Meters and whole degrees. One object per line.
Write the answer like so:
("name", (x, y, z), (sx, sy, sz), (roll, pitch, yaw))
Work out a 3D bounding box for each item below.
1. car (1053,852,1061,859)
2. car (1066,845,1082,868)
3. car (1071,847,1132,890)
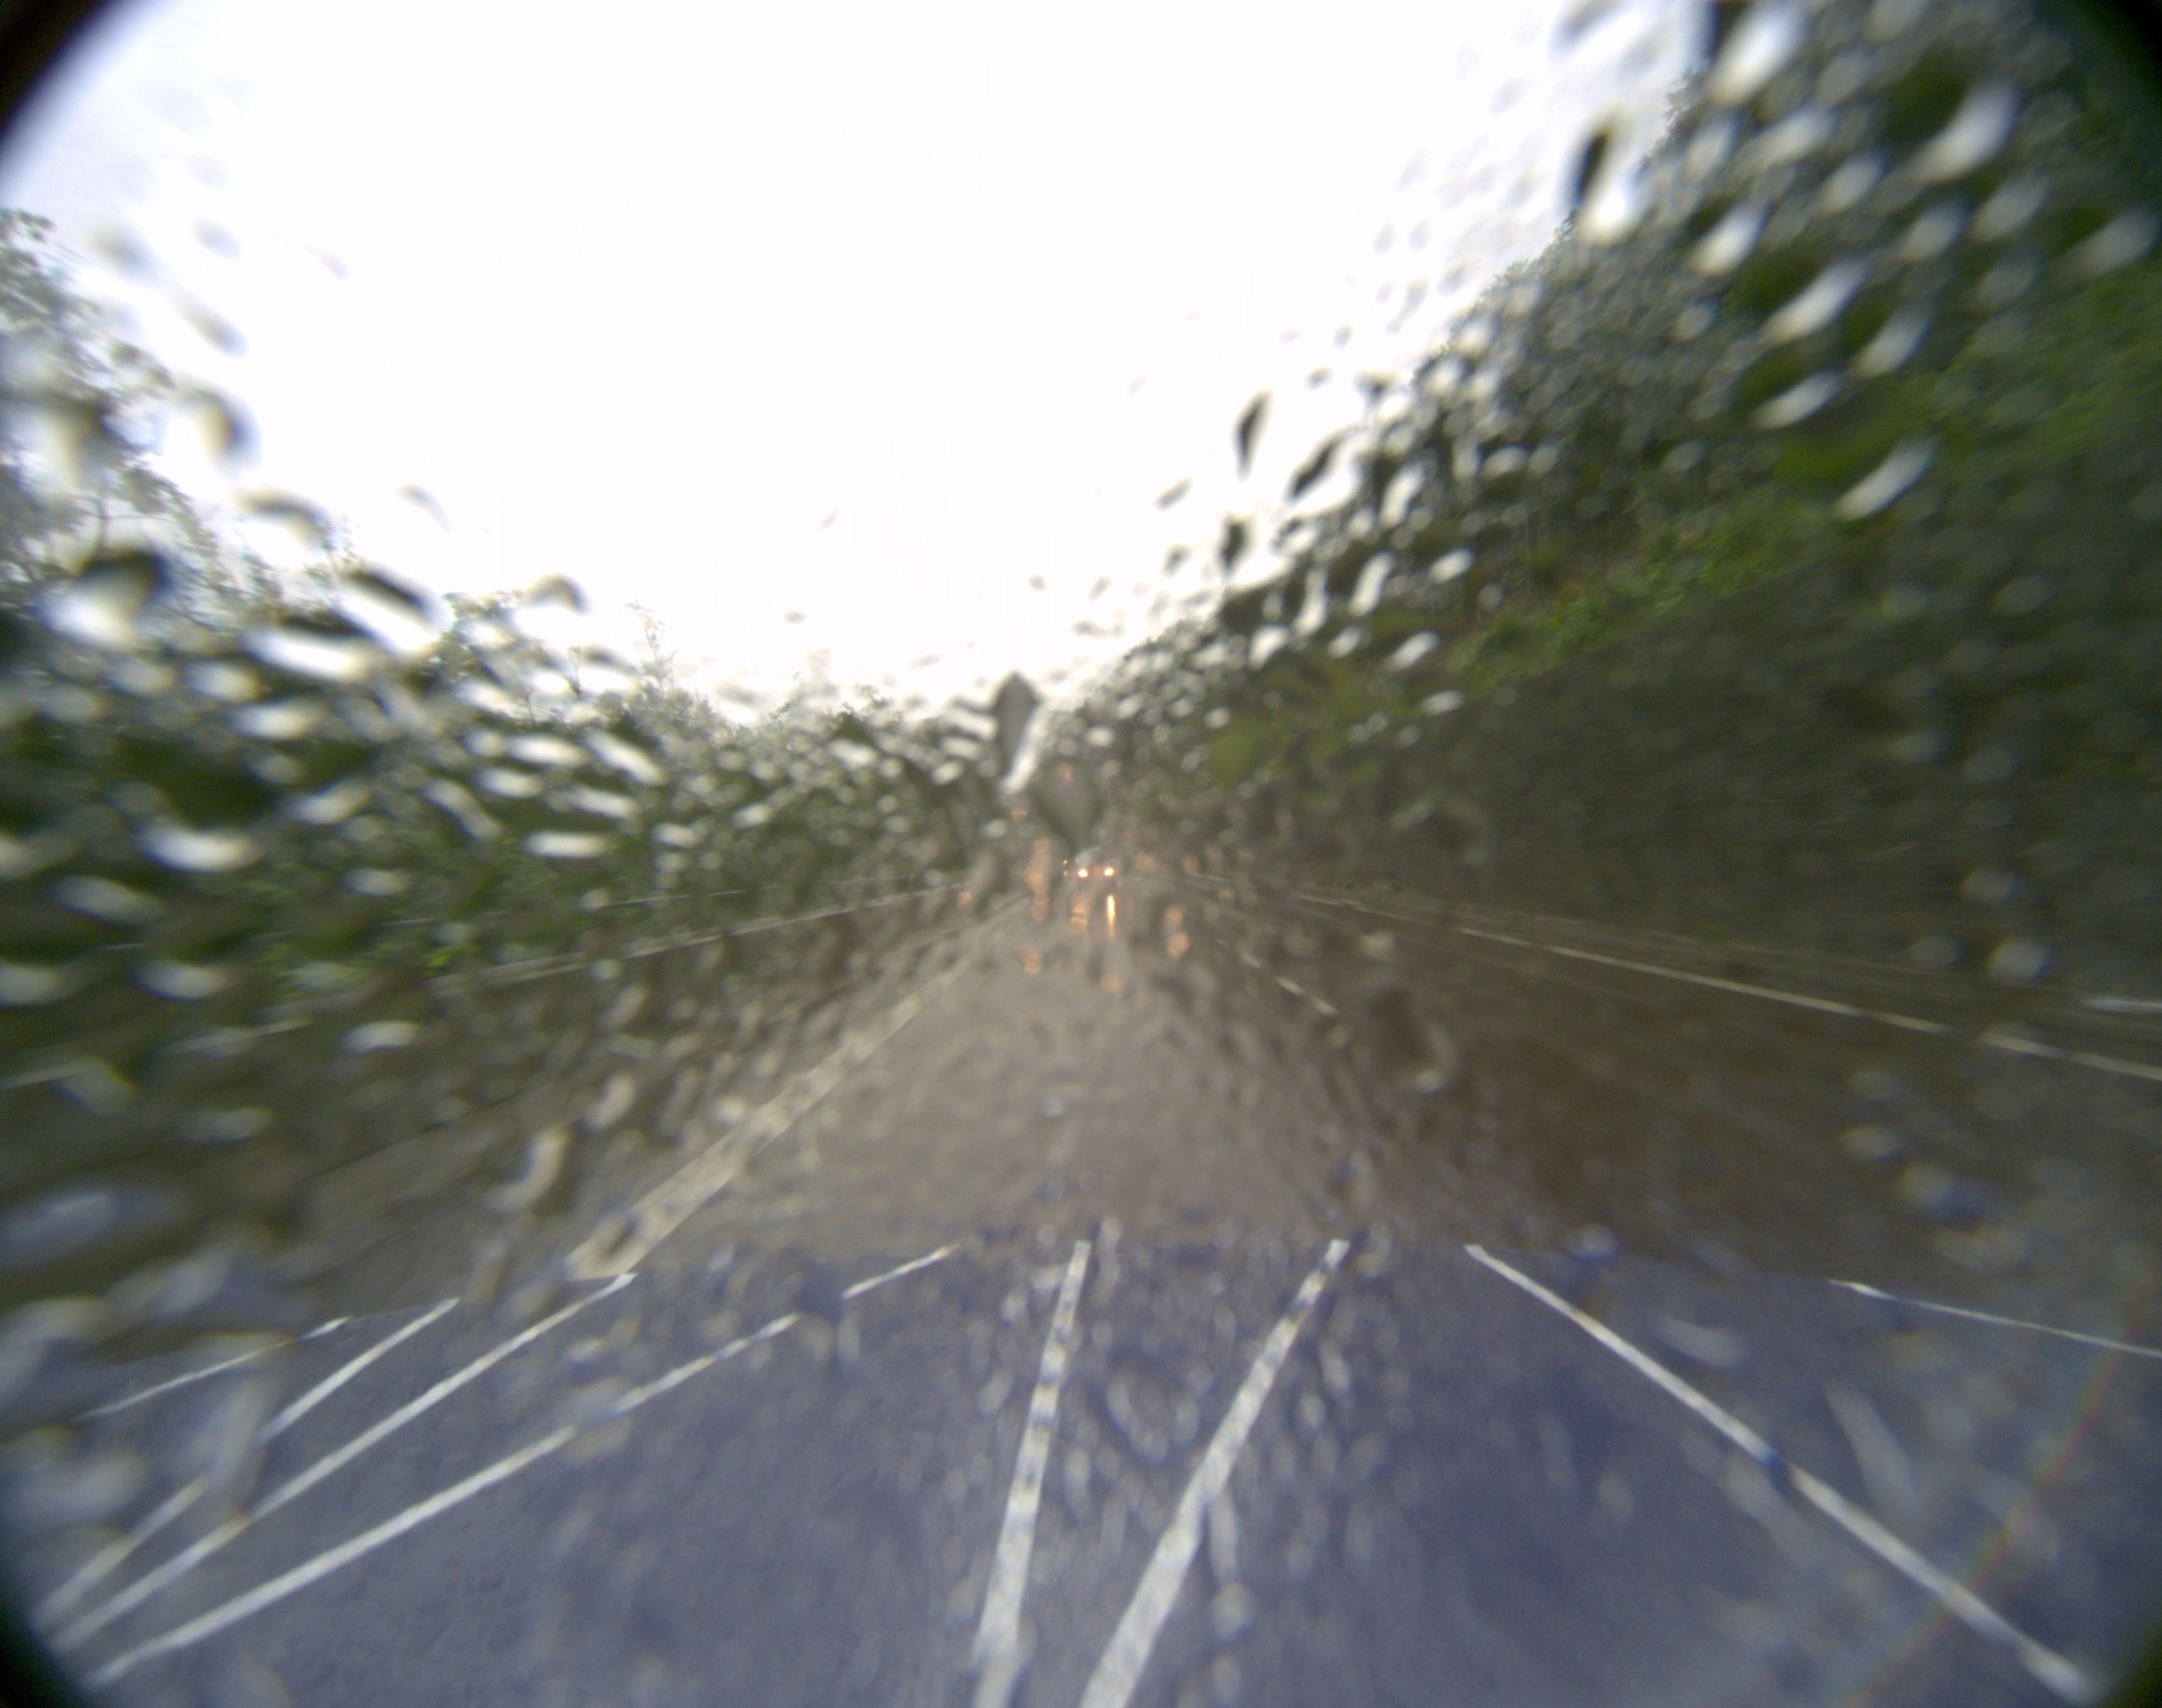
("car", (-5.275, 0.362, 165.309), (1.742, 1.393, 3.999), (-2, 0, -2))
("car", (-0.945, 0.308, 101.620), (1.742, 3.008, 3.998), (-2, 1, -4))
("car", (0.880, 0.577, 33.683), (2.359, 1.549, 5.498), (-5, 1, 1))
